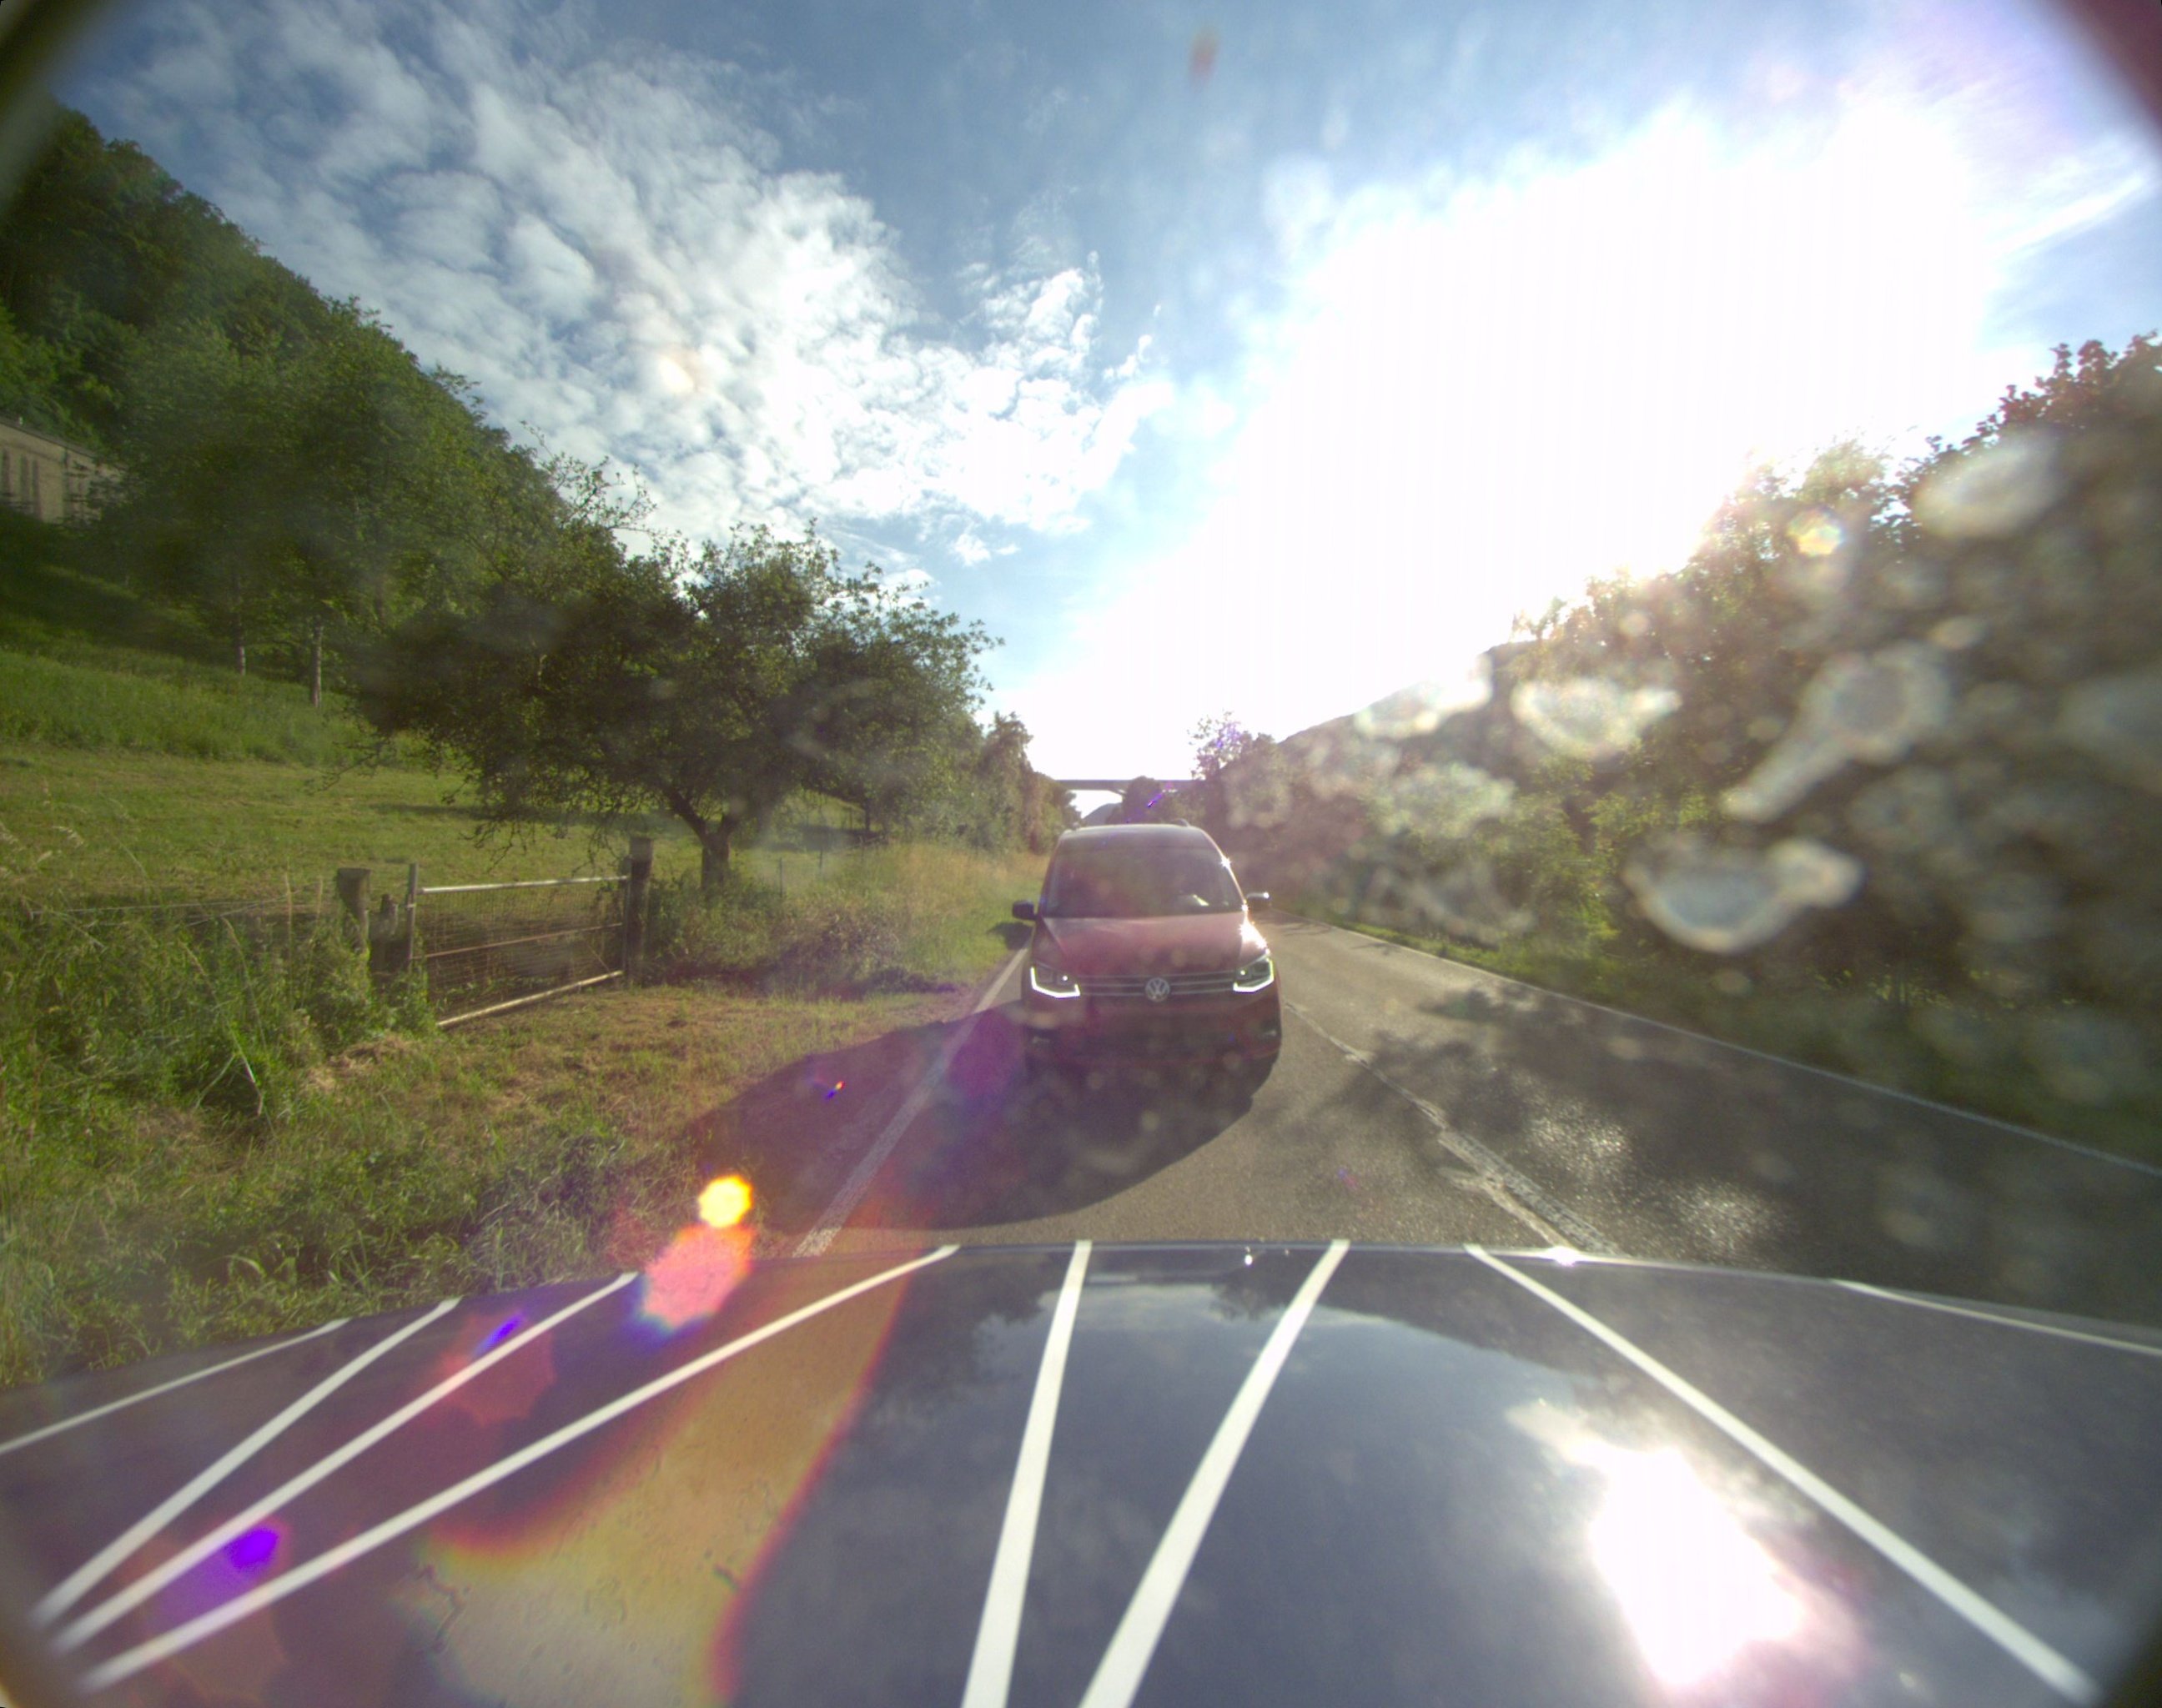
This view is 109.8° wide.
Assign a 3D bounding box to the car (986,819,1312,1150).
[{"bbox_3d":[0.431,0.724,6.442,1.753,1.799,4.288,-3,1,1],"label":"car"}]

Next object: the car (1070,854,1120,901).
[{"bbox_3d":[0.575,0.867,30.187,1.753,1.608,4.288,-3,1,1],"label":"car"}]

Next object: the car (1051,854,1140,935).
[{"bbox_3d":[0.348,0.835,17.714,1.753,1.513,4.288,-3,1,1],"label":"car"}]

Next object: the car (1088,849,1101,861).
[{"bbox_3d":[1.980,0.148,112.284,1.753,1.608,4.288,-3,1,1],"label":"car"}]
